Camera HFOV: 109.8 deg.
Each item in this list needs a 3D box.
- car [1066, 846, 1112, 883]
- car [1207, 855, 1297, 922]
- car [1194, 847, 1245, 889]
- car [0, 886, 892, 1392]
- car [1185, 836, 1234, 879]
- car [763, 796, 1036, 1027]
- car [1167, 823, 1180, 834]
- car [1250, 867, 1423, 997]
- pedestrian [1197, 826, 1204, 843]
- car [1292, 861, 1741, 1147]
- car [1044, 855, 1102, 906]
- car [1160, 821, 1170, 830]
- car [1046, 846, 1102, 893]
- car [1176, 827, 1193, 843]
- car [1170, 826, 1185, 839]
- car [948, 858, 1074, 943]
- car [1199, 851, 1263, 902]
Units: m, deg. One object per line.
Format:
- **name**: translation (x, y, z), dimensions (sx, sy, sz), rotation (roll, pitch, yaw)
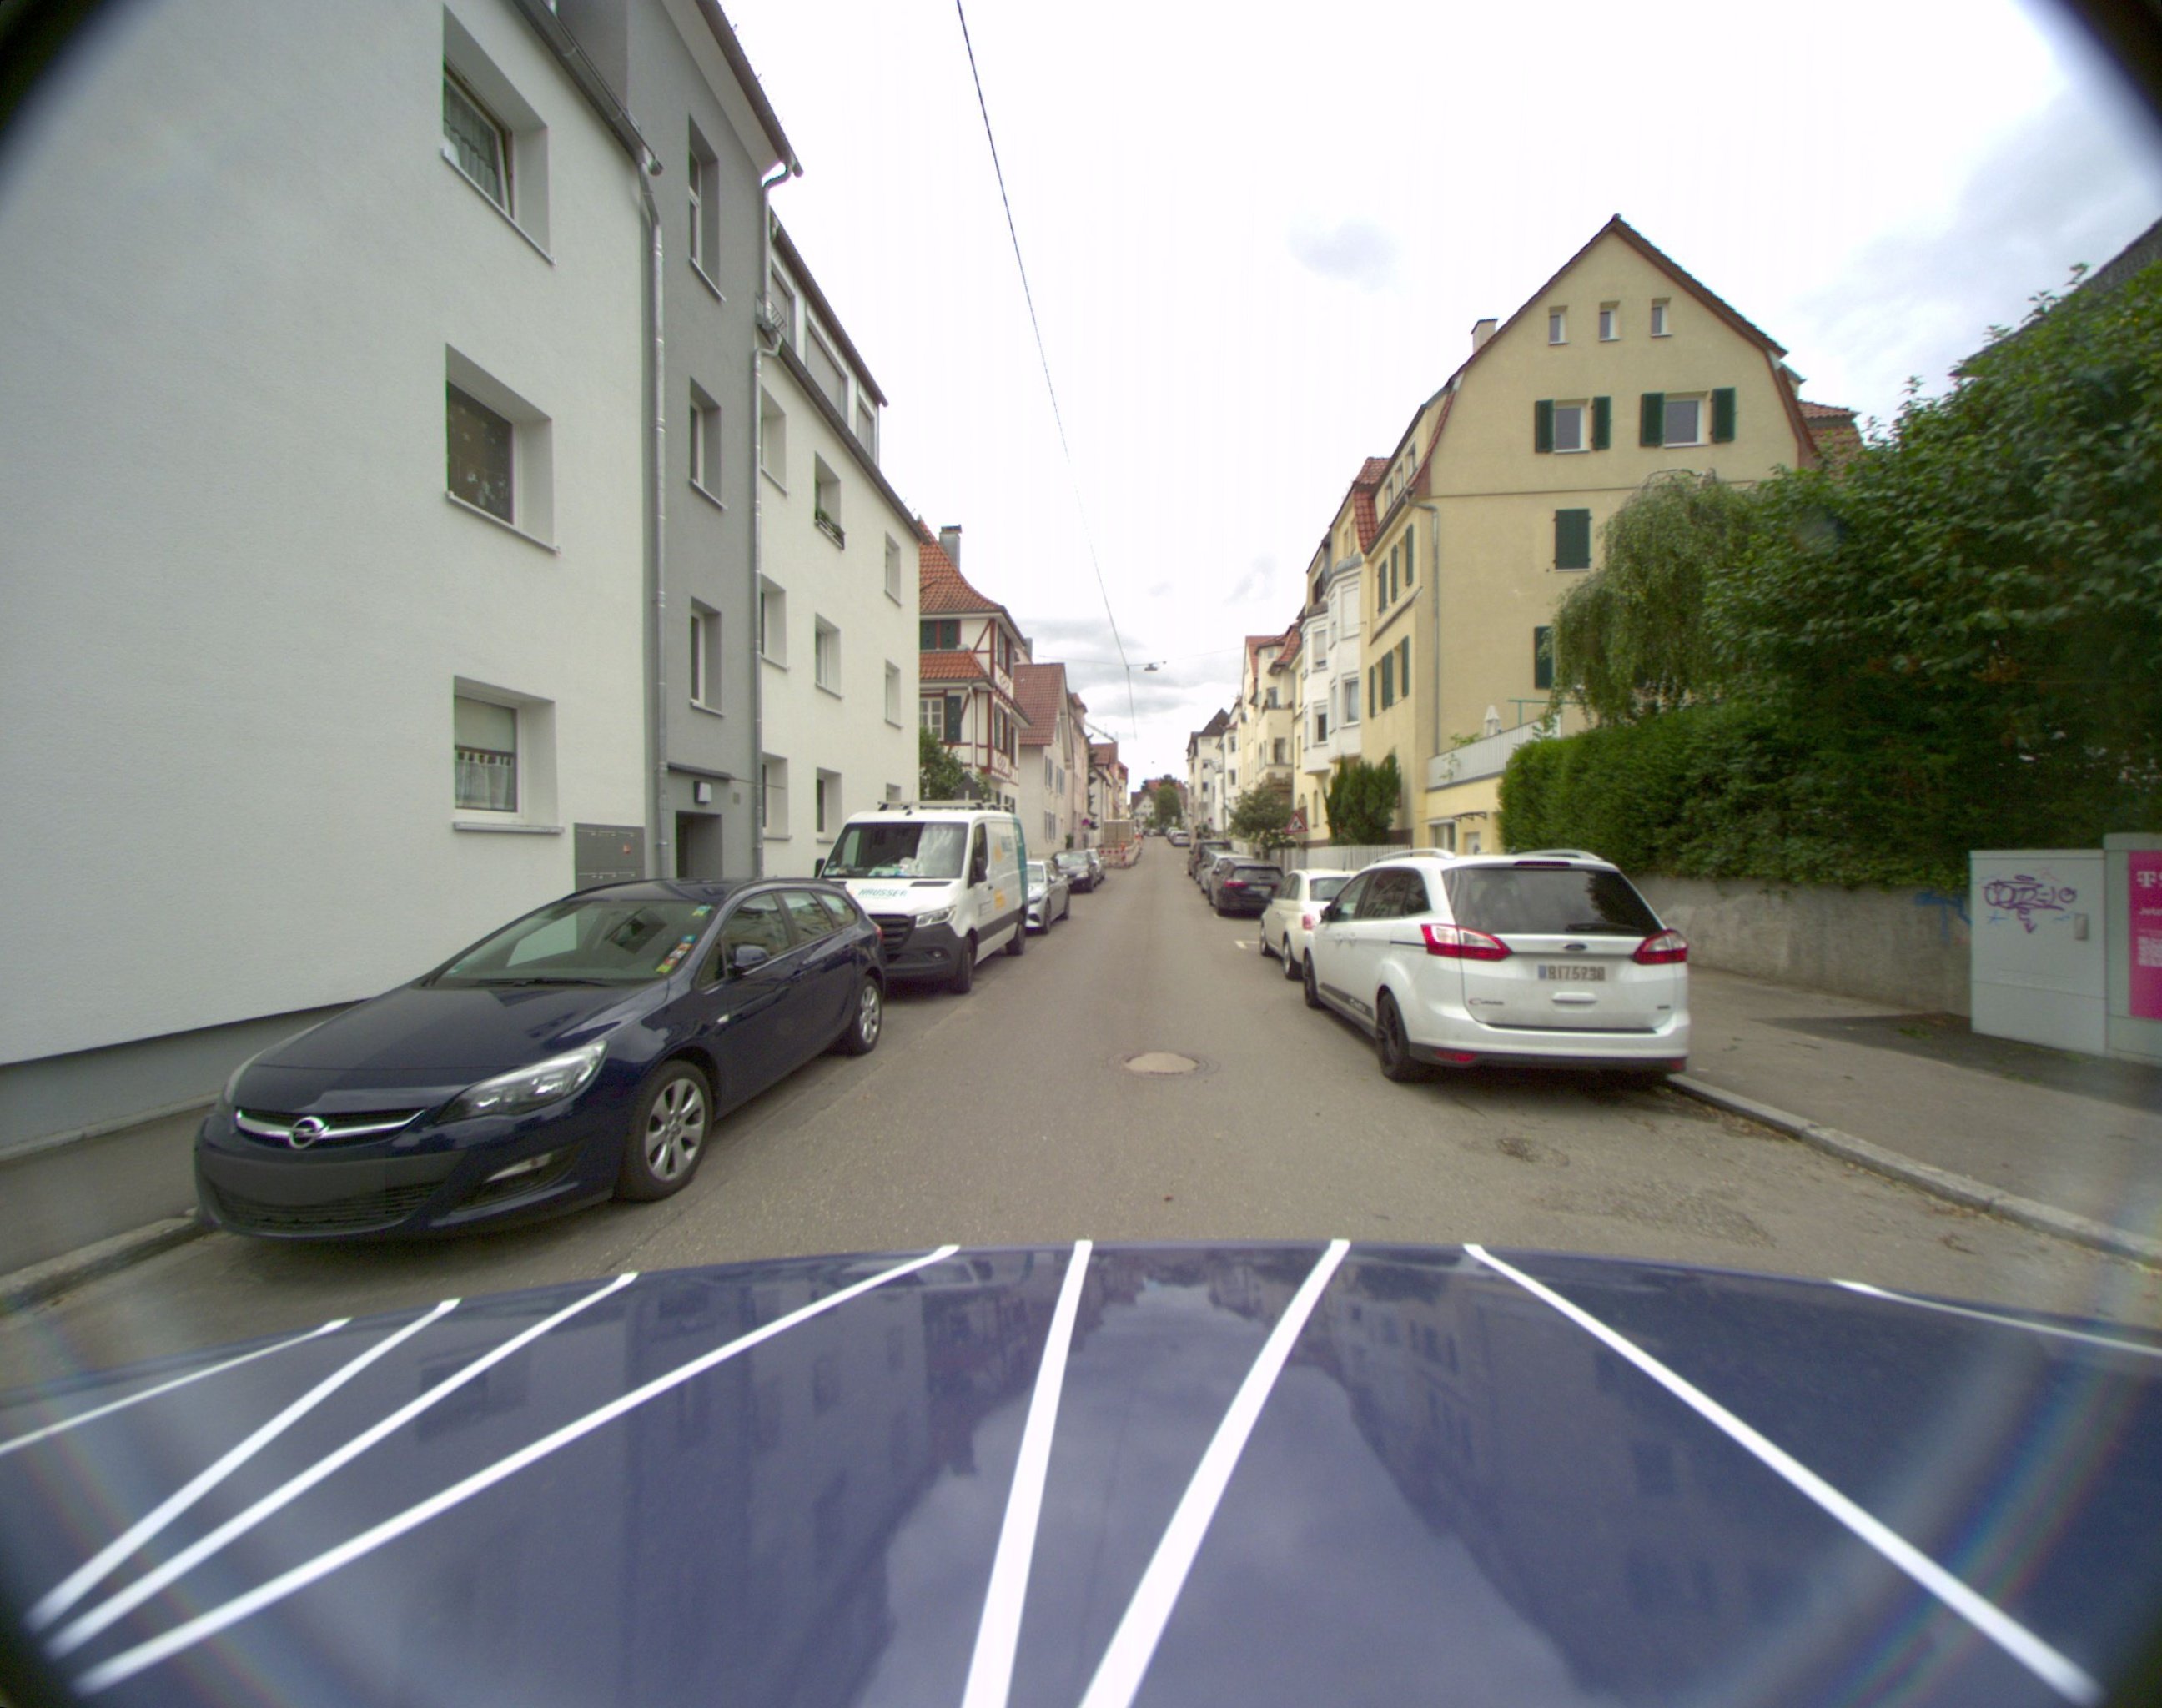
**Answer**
- **car**: translation (0.399, 0.407, 32.818), dimensions (1.629, 1.385, 4.236), rotation (-2, 2, 5)
- **car**: translation (4.413, 0.826, 20.199), dimensions (1.806, 1.472, 4.329), rotation (0, 2, 5)
- **car**: translation (5.483, 0.502, 30.464), dimensions (1.642, 1.391, 3.703), rotation (2, 3, 5)
- **car**: translation (-2.754, 1.046, 4.704), dimensions (1.822, 1.477, 4.287), rotation (-1, 0, 4)
- **car**: translation (5.881, 0.101, 35.236), dimensions (1.753, 1.787, 4.148), rotation (1, 3, 3)
- **car**: translation (-2.078, 0.541, 10.633), dimensions (1.997, 2.408, 5.294), rotation (0, 2, 7)
- **car**: translation (13.535, -3.716, 111.163), dimensions (1.782, 1.558, 4.000), rotation (0, 3, 7)
- **car**: translation (3.595, 1.012, 11.341), dimensions (1.610, 1.445, 3.614), rotation (2, 1, 5)
- **pedestrian**: translation (11.691, -1.898, 74.417), dimensions (0.617, 1.647, 0.812), rotation (-2, 2, 7)
- **car**: translation (3.131, 0.895, 6.570), dimensions (1.808, 1.649, 4.153), rotation (0, 0, 5)
- **car**: translation (-0.222, 0.898, 27.889), dimensions (1.780, 1.710, 4.001), rotation (-1, 0, 4)
- **car**: translation (15.323, -5.176, 138.134), dimensions (1.782, 1.558, 4.000), rotation (-1, 3, 7)
- **car**: translation (-0.181, 0.502, 27.624), dimensions (1.608, 1.481, 4.023), rotation (-2, 2, 5)
- **car**: translation (10.715, -1.982, 78.978), dimensions (1.662, 1.558, 4.000), rotation (0, 3, 7)
- **car**: translation (12.021, -2.725, 95.015), dimensions (1.782, 1.558, 4.000), rotation (0, 3, 7)
- **car**: translation (-1.358, 0.907, 16.647), dimensions (1.828, 1.437, 4.384), rotation (-1, 2, 7)
- **car**: translation (4.928, 0.673, 25.363), dimensions (1.642, 1.421, 4.123), rotation (1, 2, 5)
